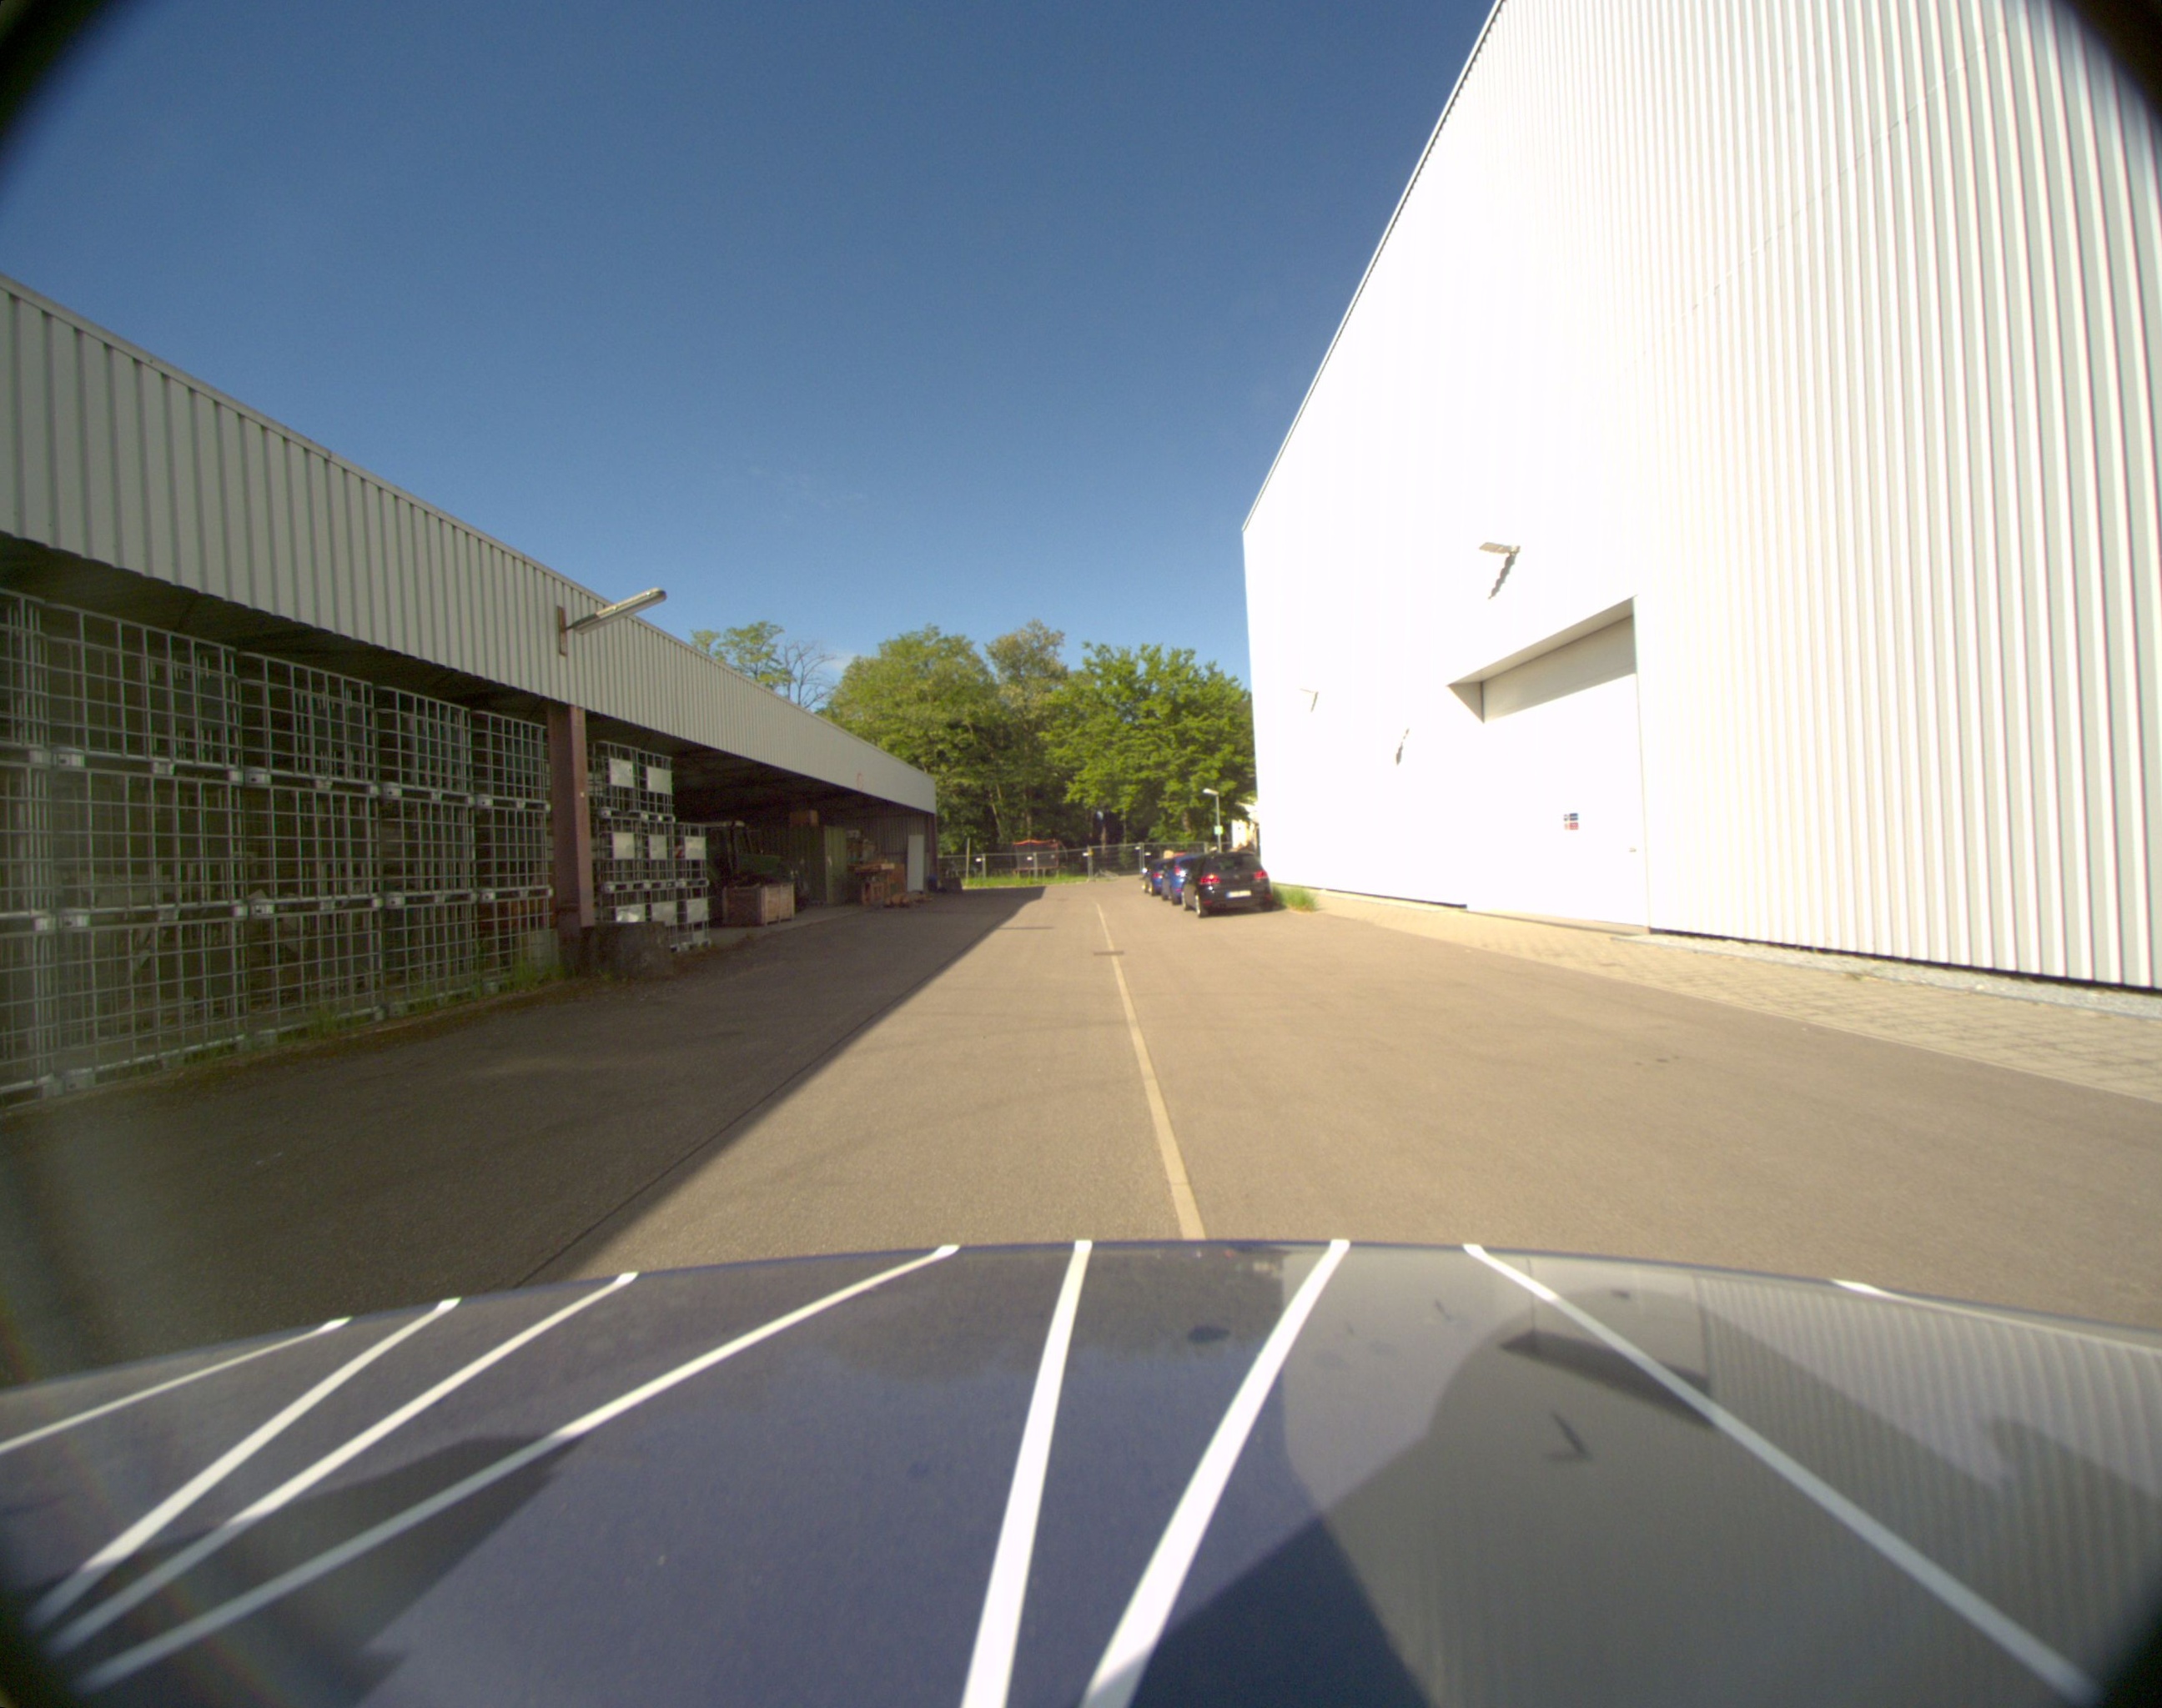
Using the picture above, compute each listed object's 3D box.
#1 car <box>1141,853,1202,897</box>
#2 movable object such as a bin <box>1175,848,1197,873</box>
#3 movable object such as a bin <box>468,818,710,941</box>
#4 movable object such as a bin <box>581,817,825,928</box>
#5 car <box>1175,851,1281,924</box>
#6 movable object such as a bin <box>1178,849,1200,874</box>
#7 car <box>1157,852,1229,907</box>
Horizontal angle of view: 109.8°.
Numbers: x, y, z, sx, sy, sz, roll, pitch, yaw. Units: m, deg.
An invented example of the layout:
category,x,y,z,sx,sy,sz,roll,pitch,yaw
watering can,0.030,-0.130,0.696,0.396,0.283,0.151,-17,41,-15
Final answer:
category,x,y,z,sx,sy,sz,roll,pitch,yaw
car,3.382,0.774,29.154,1.716,1.440,3.798,-5,0,-1
movable object such as a bin,6.399,0.421,46.248,1.141,1.469,1.280,-1,-1,1
movable object such as a bin,-12.583,0.625,19.725,4.537,2.814,2.497,-2,0,1
movable object such as a bin,-11.212,0.529,22.990,5.848,2.908,2.820,-2,0,1
car,3.505,0.751,18.898,1.760,1.437,4.315,-5,0,1
movable object such as a bin,6.373,0.418,44.885,1.141,1.426,1.289,-1,0,1
car,3.399,0.753,23.643,1.552,1.479,3.522,-5,0,-1
